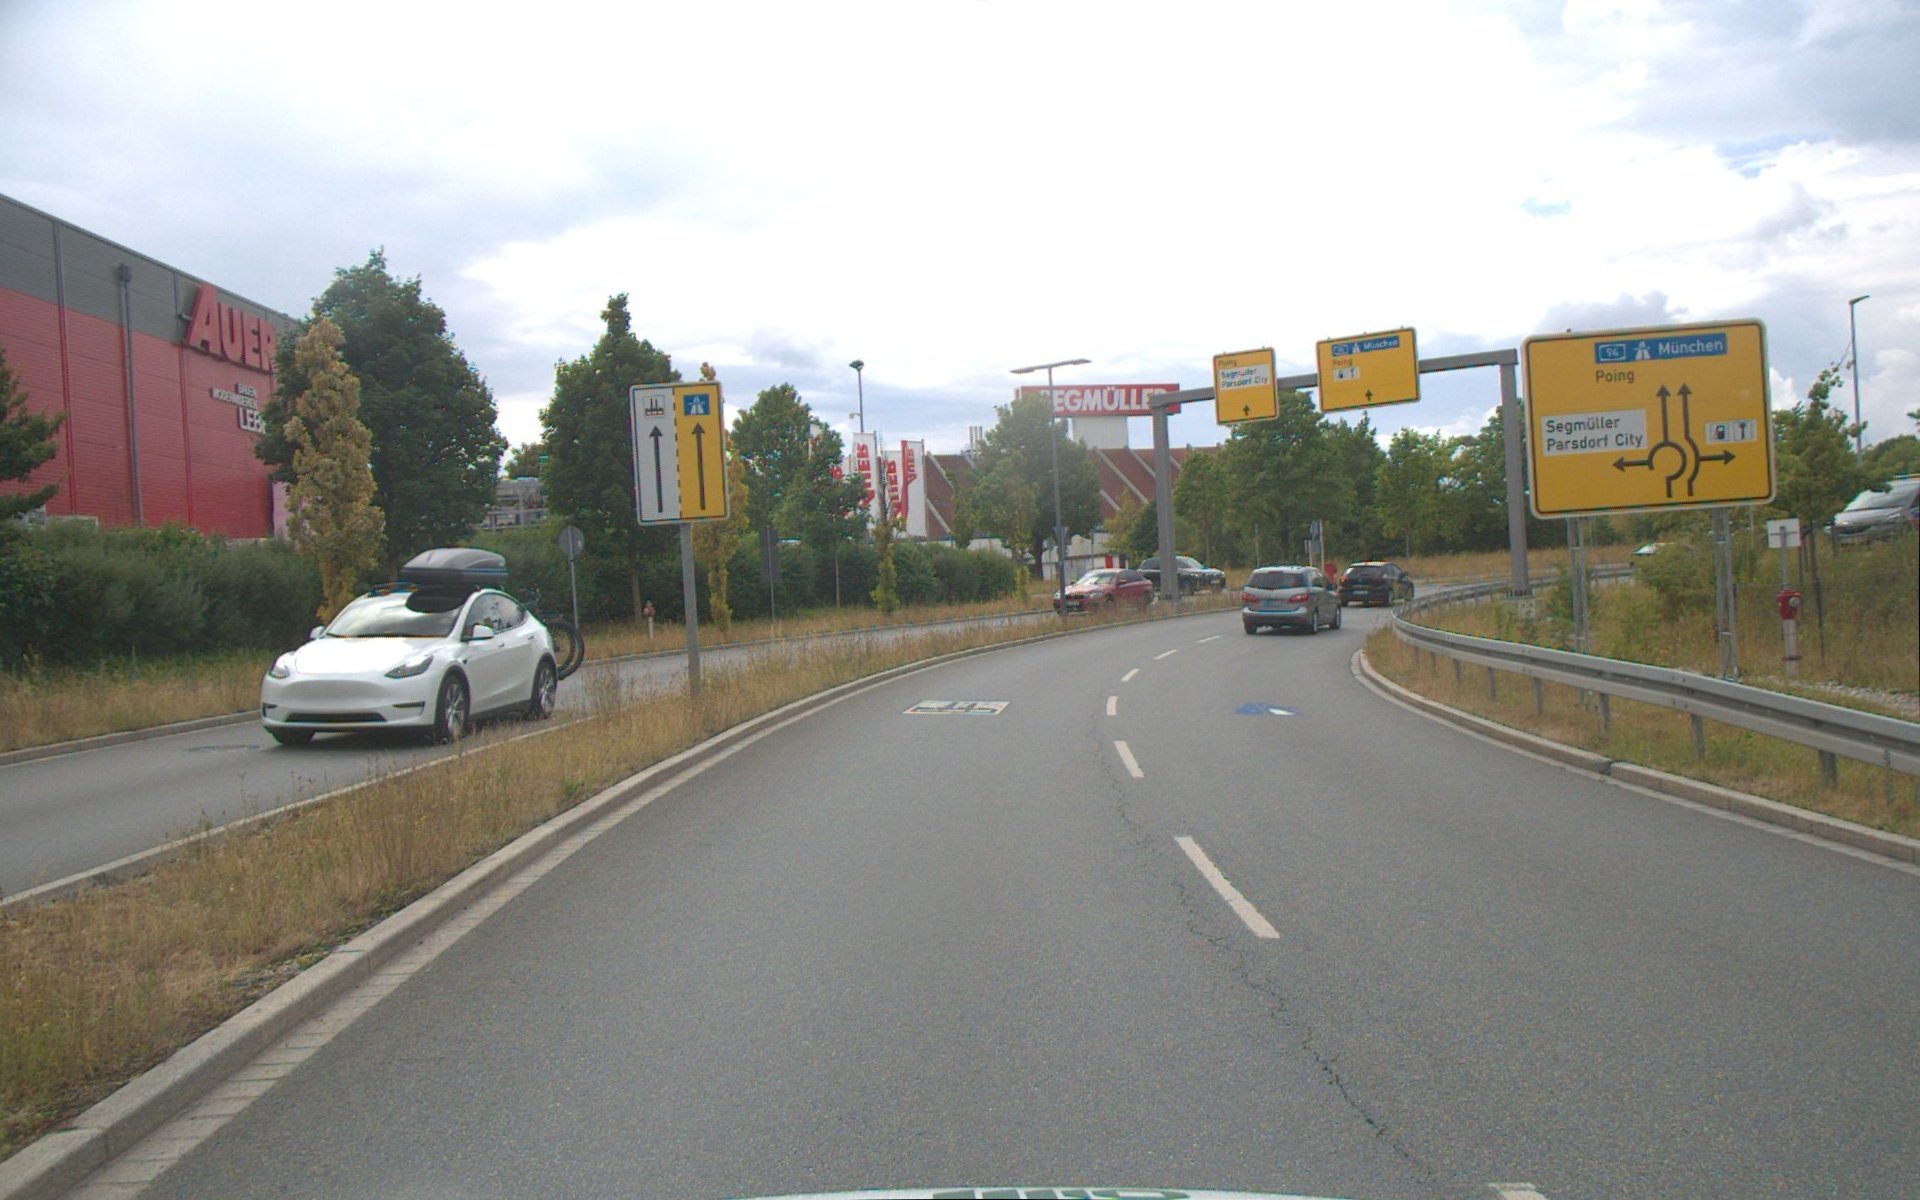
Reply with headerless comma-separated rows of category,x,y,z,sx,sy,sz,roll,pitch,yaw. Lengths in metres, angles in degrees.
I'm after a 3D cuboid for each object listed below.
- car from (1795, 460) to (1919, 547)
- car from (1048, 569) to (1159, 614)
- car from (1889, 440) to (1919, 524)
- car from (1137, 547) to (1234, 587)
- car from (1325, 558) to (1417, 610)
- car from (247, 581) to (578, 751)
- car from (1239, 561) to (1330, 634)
car,20.553,-2.098,36.724,4.116,1.813,1.785,-1,1,-33
car,4.895,-0.323,55.874,1.758,1.472,4.961,1,1,31
car,21.117,-2.418,34.051,3.802,1.682,1.717,-1,1,-28
car,9.740,-1.416,71.770,1.851,1.576,4.206,-3,1,-33
car,13.781,-0.548,55.367,1.836,1.633,3.724,-2,0,33
car,-6.011,0.630,18.841,1.868,1.654,4.641,0,1,5
car,8.066,-0.070,40.900,1.730,1.645,3.924,-2,0,17
